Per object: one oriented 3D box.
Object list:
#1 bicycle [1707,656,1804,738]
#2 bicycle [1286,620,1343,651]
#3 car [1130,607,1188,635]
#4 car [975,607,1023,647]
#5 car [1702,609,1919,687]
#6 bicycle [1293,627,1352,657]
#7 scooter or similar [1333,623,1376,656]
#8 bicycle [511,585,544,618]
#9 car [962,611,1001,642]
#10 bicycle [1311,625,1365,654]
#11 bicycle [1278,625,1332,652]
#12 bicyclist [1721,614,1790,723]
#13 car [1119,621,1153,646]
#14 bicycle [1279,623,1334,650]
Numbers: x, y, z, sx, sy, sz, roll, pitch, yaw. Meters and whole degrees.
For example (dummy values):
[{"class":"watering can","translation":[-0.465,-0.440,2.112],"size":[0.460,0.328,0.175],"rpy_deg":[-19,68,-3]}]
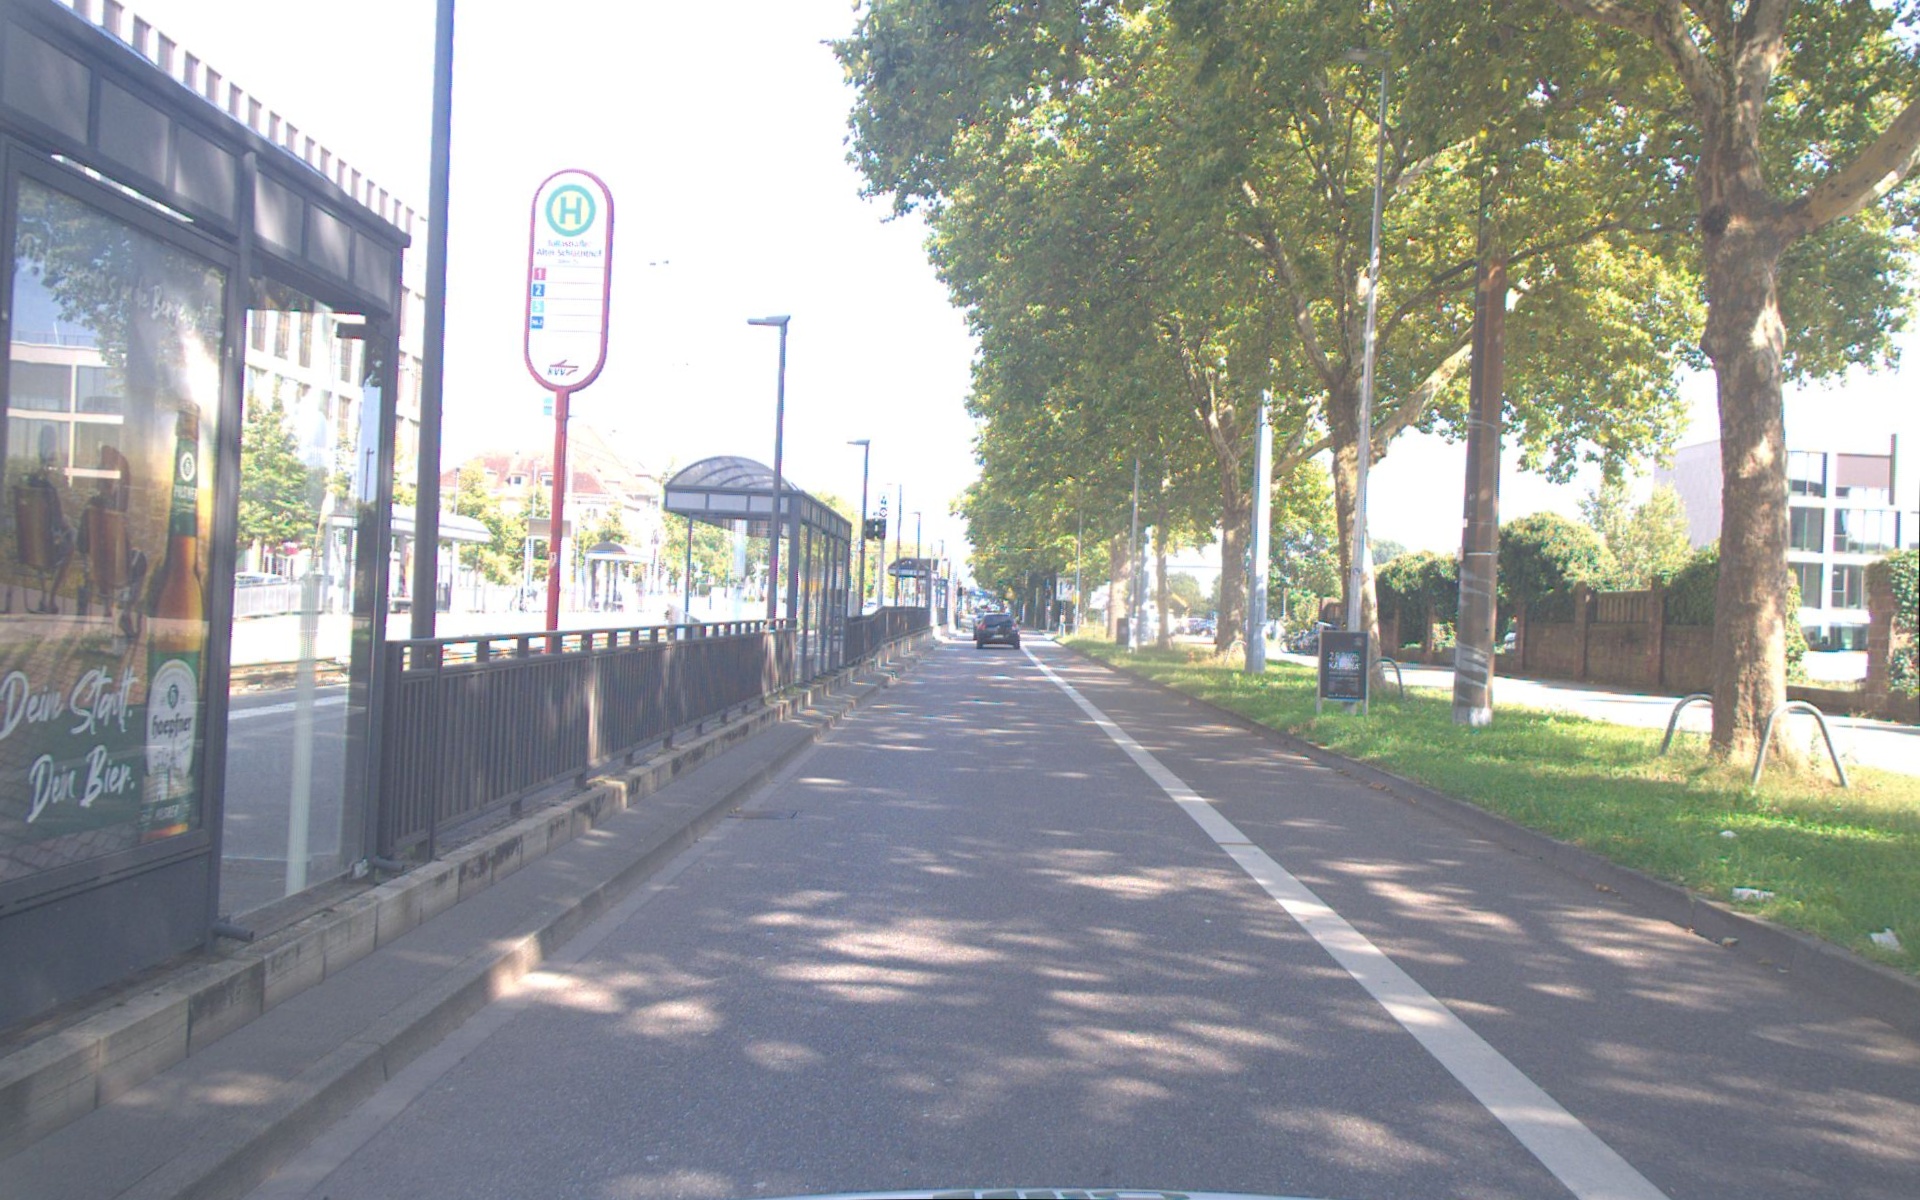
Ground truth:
[{"class":"bicycle","translation":[11.068,1.329,23.065],"size":[0.537,1.024,1.713],"rpy_deg":[2,0,1]},{"class":"bicycle","translation":[15.026,1.512,70.163],"size":[2.198,1.299,0.998],"rpy_deg":[0,-2,0]},{"class":"car","translation":[14.168,1.505,118.142],"size":[4.017,1.952,1.848],"rpy_deg":[1,-1,4]},{"class":"car","translation":[1.543,1.082,66.914],"size":[1.868,1.564,4.000],"rpy_deg":[0,0,0]},{"class":"car","translation":[21.118,1.173,41.150],"size":[4.430,1.764,1.909],"rpy_deg":[1,0,-1]},{"class":"bicycle","translation":[14.382,1.656,65.641],"size":[2.129,1.095,0.743],"rpy_deg":[2,-1,-1]},{"class":"scooter or similar","translation":[14.635,1.471,61.335],"size":[1.474,1.212,0.539],"rpy_deg":[0,-1,4]},{"class":"bicycle","translation":[-15.993,0.046,61.136],"size":[0.461,1.167,1.484],"rpy_deg":[2,-1,15]},{"class":"car","translation":[1.091,1.368,86.330],"size":[1.933,1.564,4.000],"rpy_deg":[-1,0,0]},{"class":"bicycle","translation":[14.332,1.485,62.712],"size":[1.829,1.024,0.735],"rpy_deg":[2,-1,-1]},{"class":"bicycle","translation":[14.326,1.599,68.670],"size":[2.127,1.095,0.743],"rpy_deg":[0,-1,4]},{"class":"bicyclist","translation":[11.083,0.940,23.067],"size":[0.537,1.478,0.842],"rpy_deg":[2,-1,1]},{"class":"car","translation":[11.139,2.095,104.827],"size":[1.692,1.474,4.551],"rpy_deg":[1,0,1]},{"class":"bicycle","translation":[14.223,1.491,67.857],"size":[2.127,1.095,0.743],"rpy_deg":[0,-1,4]}]
